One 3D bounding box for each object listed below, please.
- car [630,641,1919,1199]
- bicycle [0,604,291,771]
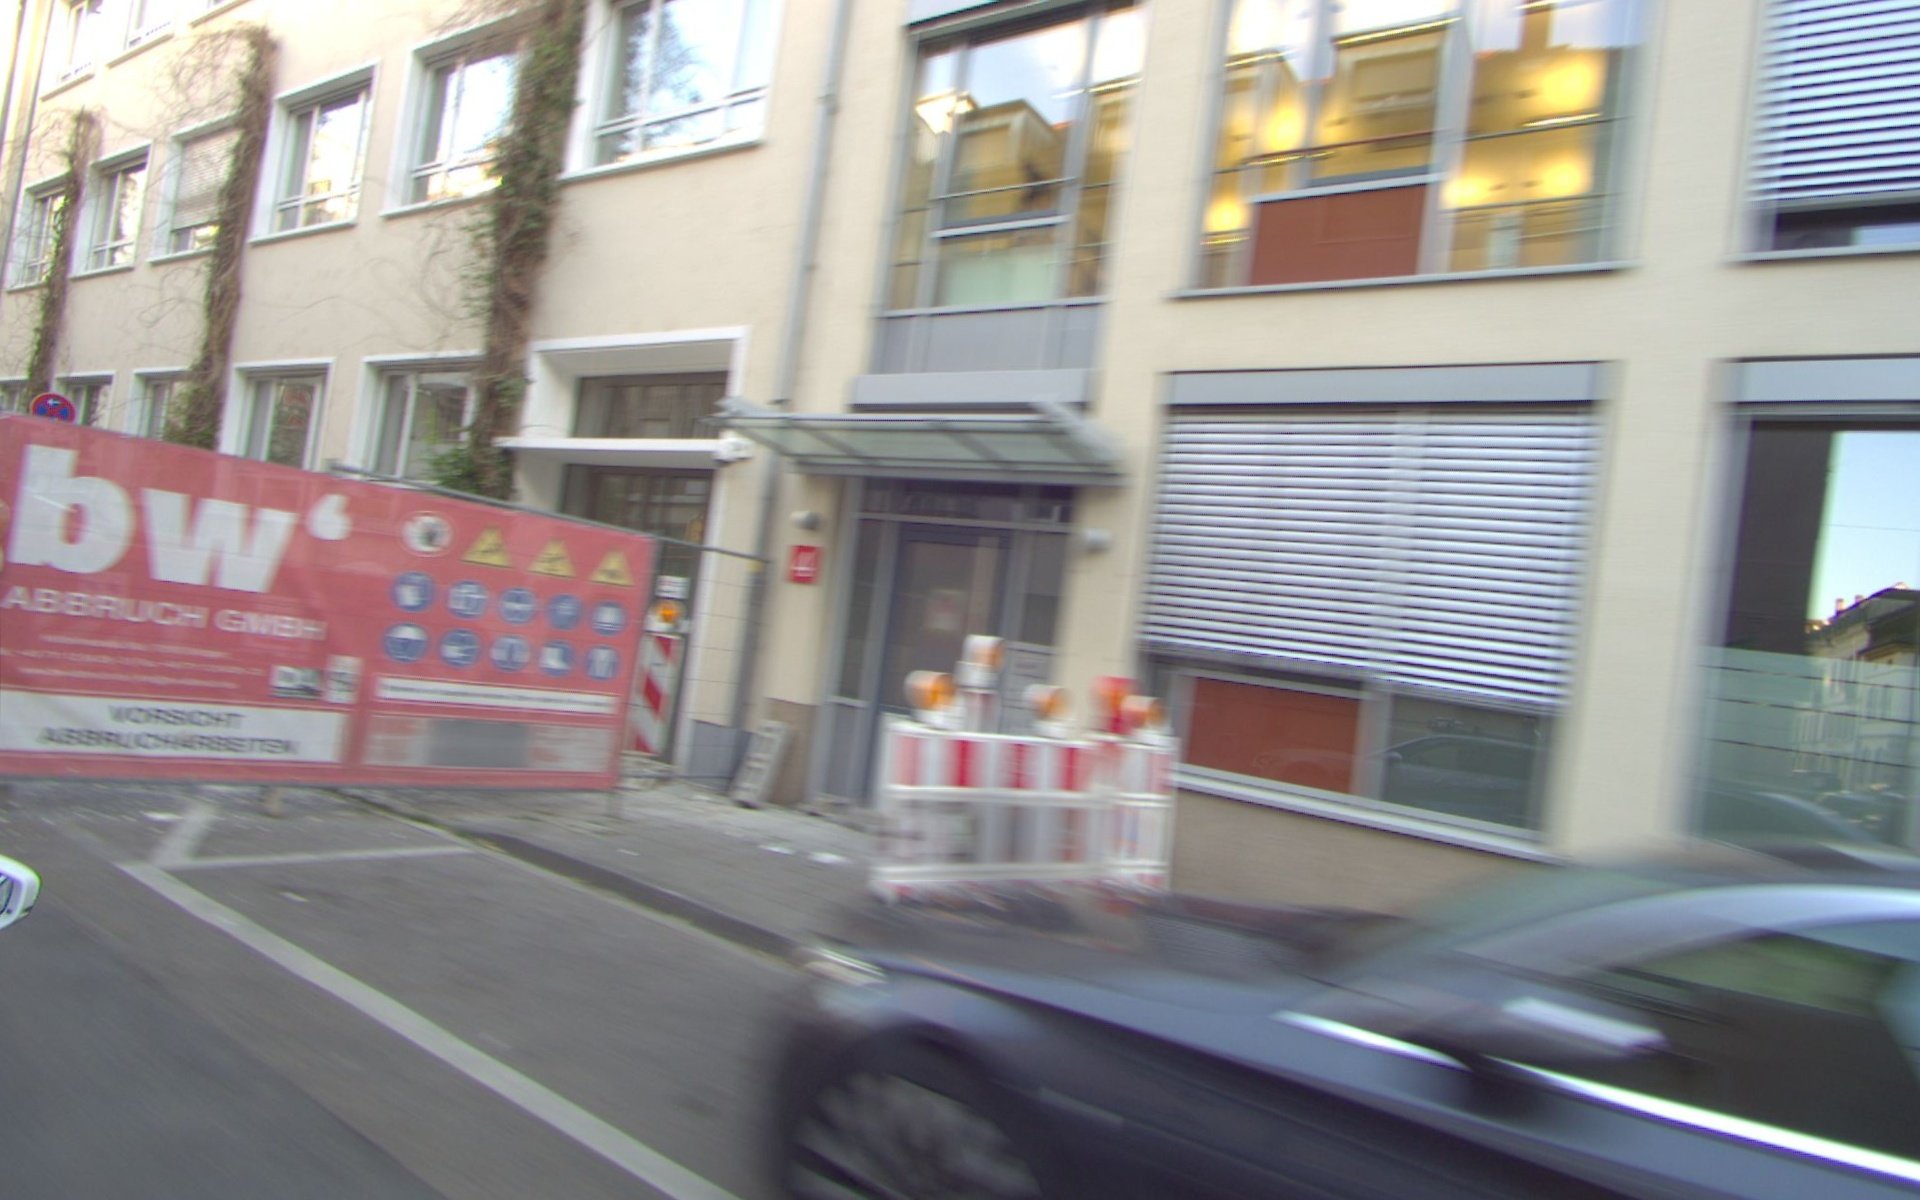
[{"bbox_3d":[1.569,1.133,1.970,4.406,1.421,1.698,7,-3,33],"label":"car"},{"bbox_3d":[-5.468,0.605,6.773,1.477,0.907,0.394,11,-2,-31],"label":"bicycle"}]
